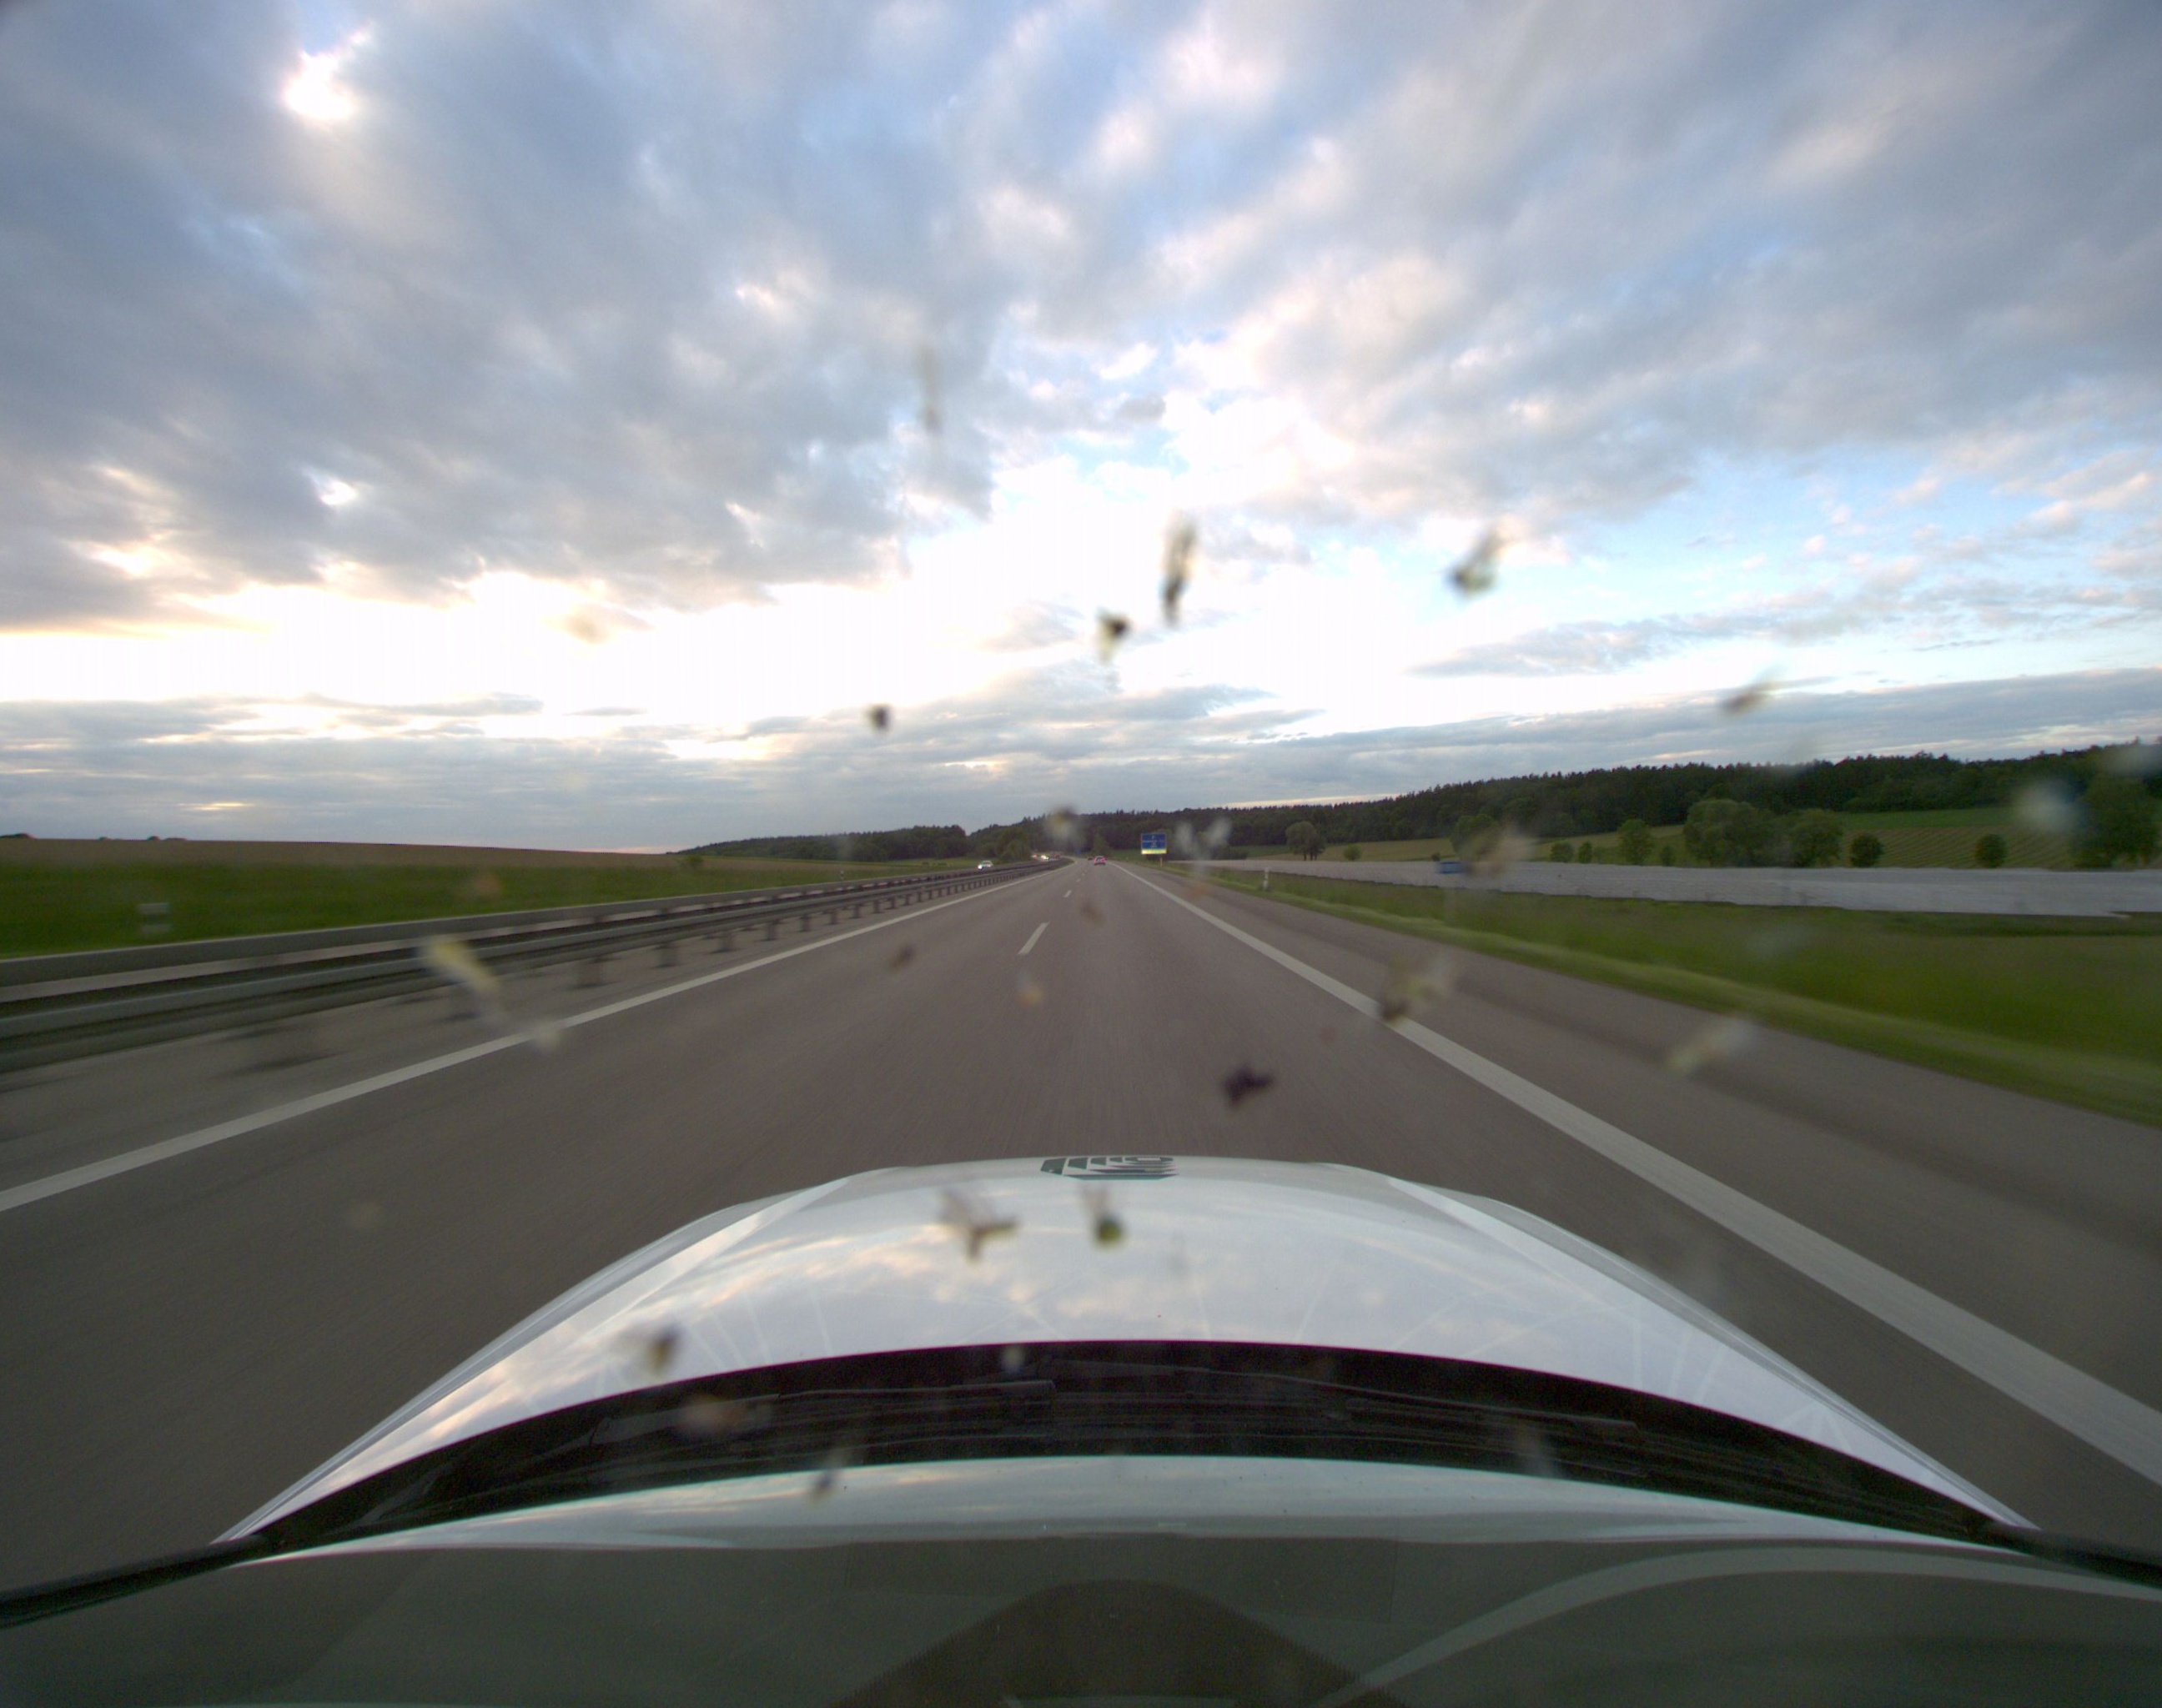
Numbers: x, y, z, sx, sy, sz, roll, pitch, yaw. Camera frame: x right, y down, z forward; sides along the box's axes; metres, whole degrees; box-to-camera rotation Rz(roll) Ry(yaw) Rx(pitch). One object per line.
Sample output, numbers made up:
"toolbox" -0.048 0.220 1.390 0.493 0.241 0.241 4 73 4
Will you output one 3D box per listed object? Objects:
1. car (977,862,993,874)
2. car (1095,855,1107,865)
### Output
"car" -14.024 2.027 119.196 1.784 1.699 4.591 0 0 1
"car" 3.292 1.009 136.080 1.946 1.531 4.078 0 0 -1
